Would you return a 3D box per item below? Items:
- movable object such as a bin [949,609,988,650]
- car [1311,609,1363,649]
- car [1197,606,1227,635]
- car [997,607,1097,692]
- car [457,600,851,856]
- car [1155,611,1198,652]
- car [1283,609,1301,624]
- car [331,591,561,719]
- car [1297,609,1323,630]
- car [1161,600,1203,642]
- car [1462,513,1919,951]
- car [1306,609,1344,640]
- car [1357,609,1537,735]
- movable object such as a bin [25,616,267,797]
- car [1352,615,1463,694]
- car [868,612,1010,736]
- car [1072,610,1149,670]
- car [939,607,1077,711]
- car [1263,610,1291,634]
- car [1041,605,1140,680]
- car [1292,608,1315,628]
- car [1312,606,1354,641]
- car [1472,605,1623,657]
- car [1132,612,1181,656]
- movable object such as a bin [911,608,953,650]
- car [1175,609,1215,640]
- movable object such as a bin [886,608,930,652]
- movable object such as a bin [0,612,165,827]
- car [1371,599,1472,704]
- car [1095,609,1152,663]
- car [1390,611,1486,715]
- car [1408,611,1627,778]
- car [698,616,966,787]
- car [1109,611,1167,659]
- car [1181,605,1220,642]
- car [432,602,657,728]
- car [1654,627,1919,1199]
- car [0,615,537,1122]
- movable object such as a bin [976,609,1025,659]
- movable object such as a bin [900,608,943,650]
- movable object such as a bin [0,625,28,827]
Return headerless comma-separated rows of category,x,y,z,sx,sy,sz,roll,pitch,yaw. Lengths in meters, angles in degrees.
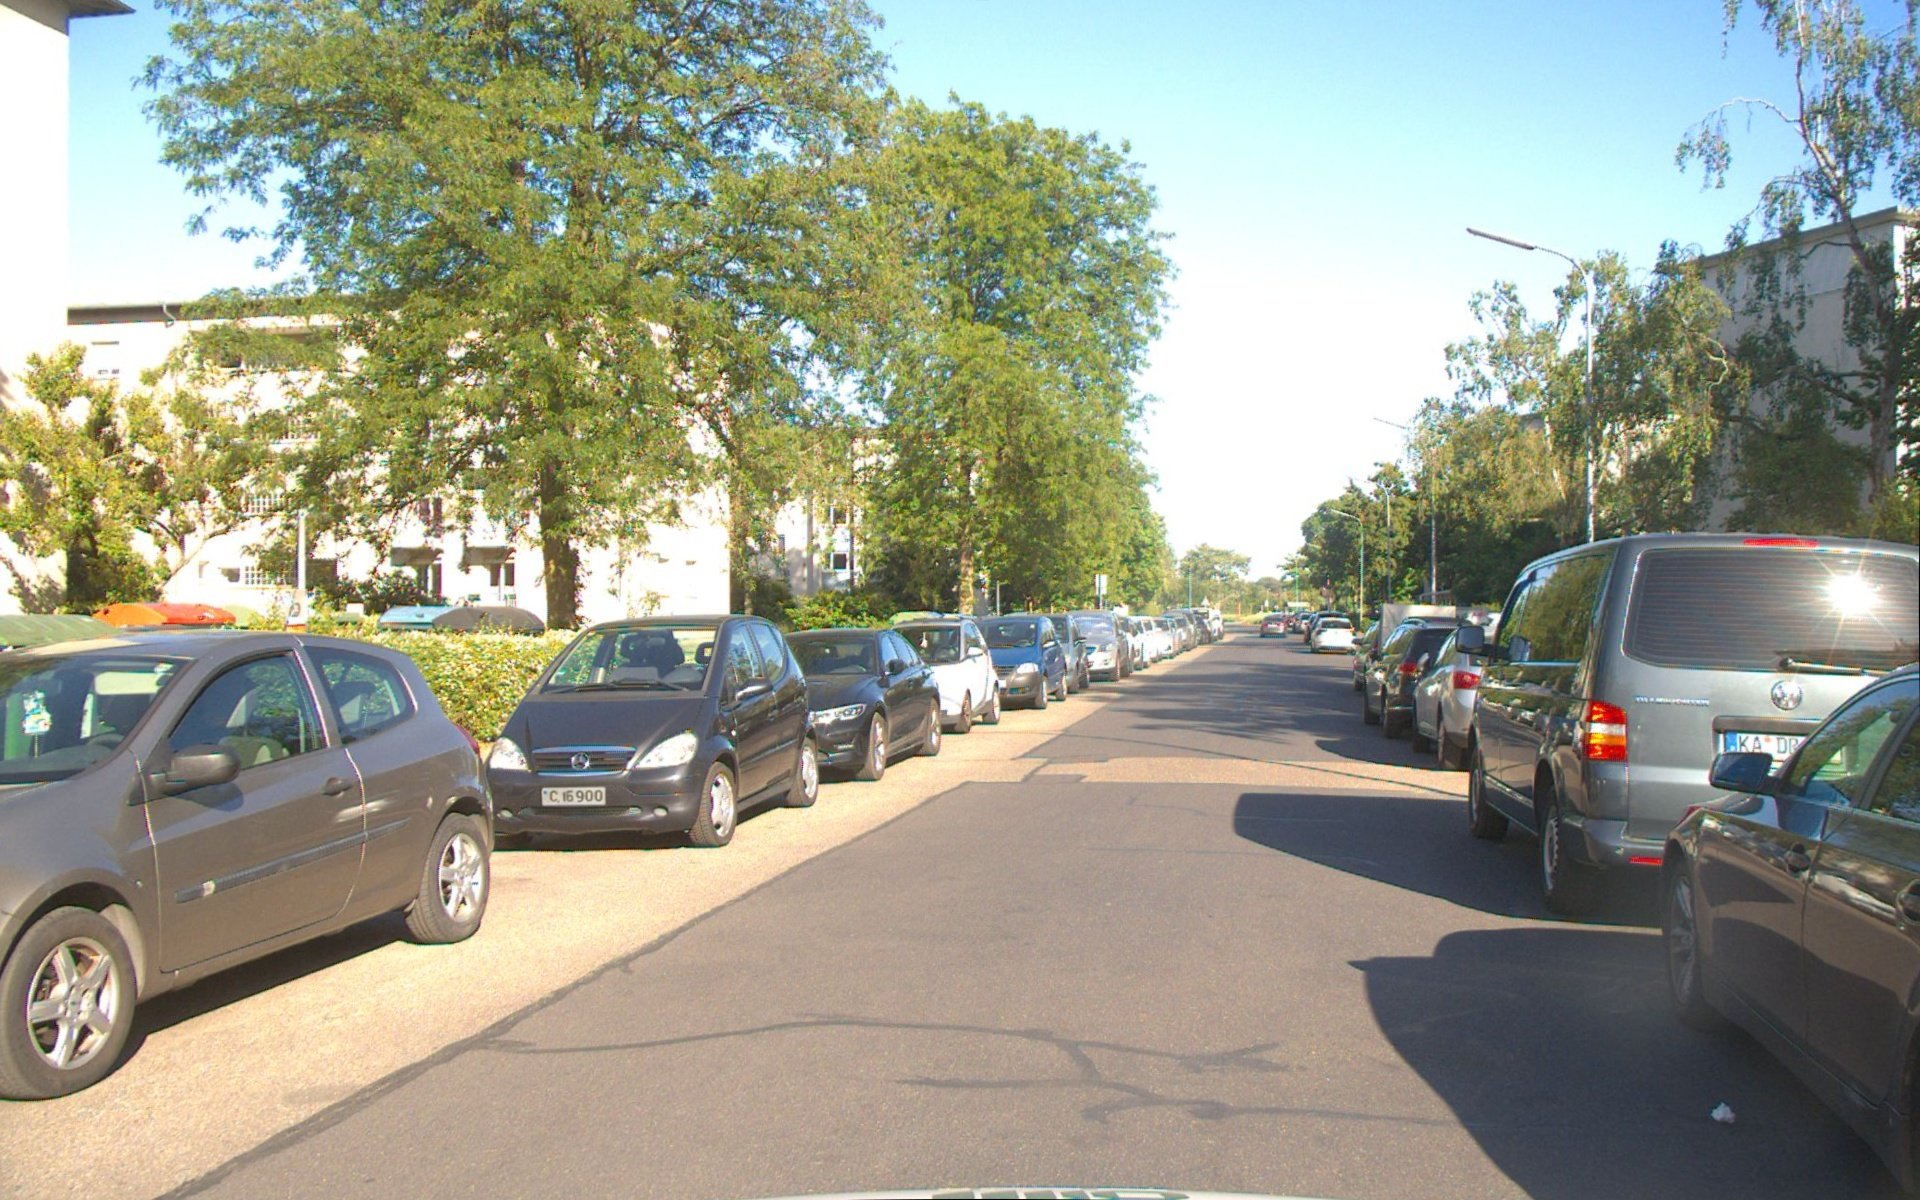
movable object such as a bin,0.312,1.060,60.475,1.110,1.445,1.362,2,0,12
car,15.293,1.153,67.199,1.716,1.540,4.107,1,0,9
car,16.313,1.327,106.858,1.709,1.762,4.009,-2,-1,11
car,1.840,0.980,34.123,1.600,1.634,3.538,-1,-1,10
car,-2.124,0.851,12.551,1.717,1.601,3.723,-3,-1,9
car,9.458,1.353,72.061,1.673,1.628,3.989,-3,-1,9
car,36.700,1.819,183.047,1.757,1.576,3.955,1,0,9
car,-7.307,0.735,23.936,1.537,1.669,4.003,1,0,9
car,27.179,1.535,128.435,1.757,1.589,3.955,1,0,9
car,10.556,0.988,78.468,1.815,1.925,4.421,-2,-1,9
car,4.257,0.609,9.921,1.813,1.968,4.708,1,0,10
car,19.595,1.297,88.828,1.867,1.557,4.331,0,0,11
car,6.466,0.893,22.391,1.695,1.516,4.505,-1,-1,8
movable object such as a bin,-6.520,0.815,13.327,1.152,1.363,1.344,0,0,12
car,8.921,1.050,33.239,1.695,1.428,3.898,1,0,8
car,-0.240,1.001,23.631,1.413,1.601,3.145,-2,-1,10
car,4.151,1.061,45.145,1.627,1.540,3.949,-1,-1,12
car,0.918,0.985,29.088,1.717,1.634,3.972,-3,-1,12
car,21.248,1.465,111.006,1.644,1.540,4.107,1,0,9
car,3.185,0.973,39.528,1.862,1.668,4.352,-1,-1,11
car,30.830,1.604,148.569,1.757,1.672,3.955,1,0,9
car,18.705,1.164,83.037,1.867,1.668,4.632,0,0,11
car,18.835,0.989,53.217,4.320,1.540,1.830,-1,-1,11
car,7.364,1.245,61.725,1.650,1.532,3.821,-1,-1,9
movable object such as a bin,-1.019,1.041,60.240,1.152,1.445,1.463,2,0,13
car,12.400,1.270,87.224,1.709,1.560,4.142,-2,-1,13
movable object such as a bin,-1.780,1.013,57.038,1.152,1.445,1.463,2,0,13
movable object such as a bin,-6.672,0.806,11.866,1.152,1.432,1.344,0,0,12
car,8.124,0.877,29.268,1.457,1.748,2.585,1,0,10
car,4.897,1.068,49.818,1.627,1.540,3.540,-1,-1,5
car,7.595,0.961,26.429,1.385,1.550,2.559,1,0,15
car,5.767,0.898,17.519,1.588,1.516,4.039,1,0,10
car,-1.183,0.962,17.475,1.717,1.507,4.541,-3,-1,10
car,6.073,1.164,56.244,1.650,1.562,3.894,-1,-1,10
car,13.584,1.291,93.396,1.874,1.997,5.092,-2,-1,11
car,-5.587,0.822,22.759,1.537,1.552,4.003,1,0,9
car,3.301,0.829,4.526,1.762,1.443,4.639,1,0,12
car,-3.431,0.861,6.633,1.717,1.507,3.962,-3,-1,12
movable object such as a bin,1.199,0.982,48.668,1.112,1.407,1.443,2,0,12
movable object such as a bin,-1.368,1.020,58.758,1.152,1.445,1.463,2,0,13
movable object such as a bin,-6.892,0.815,10.438,1.152,1.310,1.344,0,0,12
